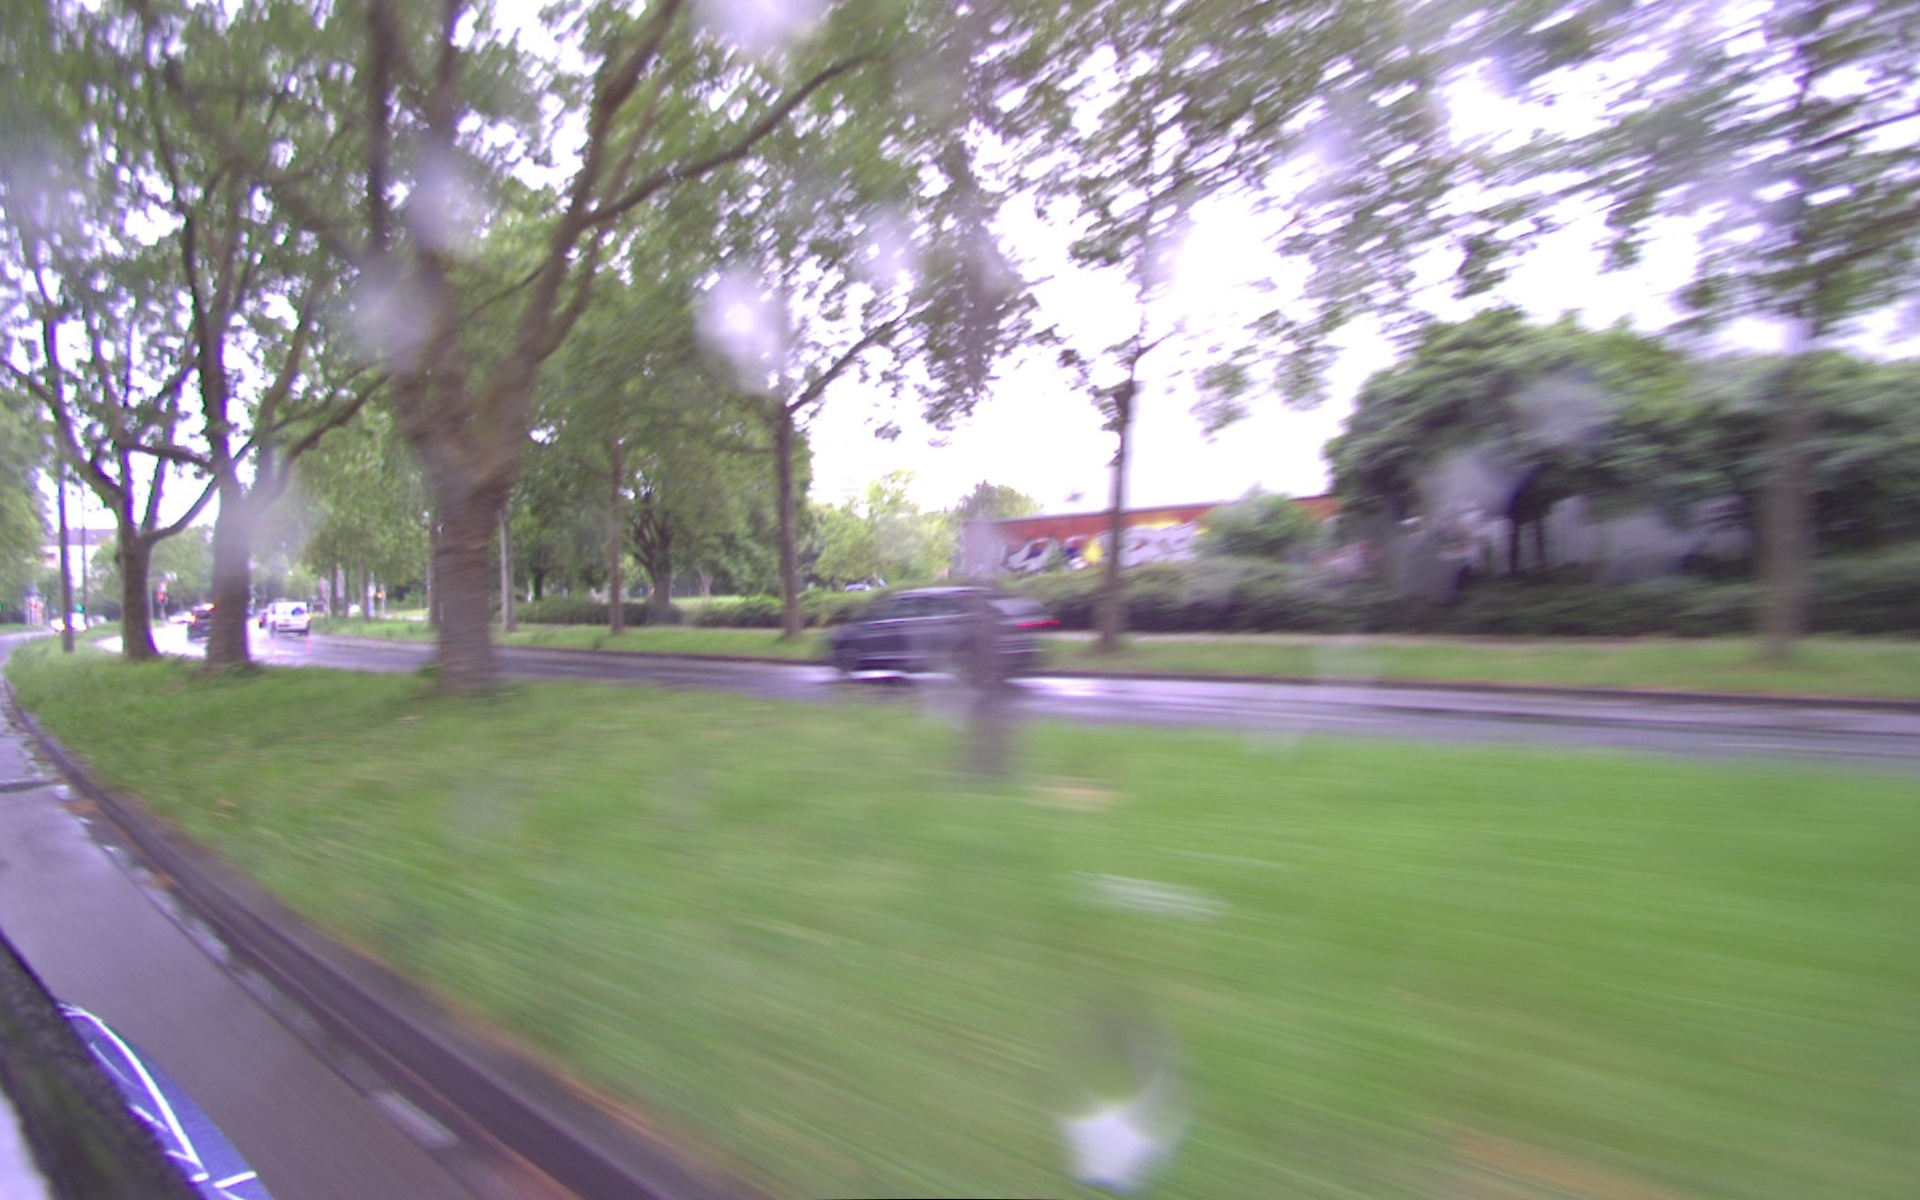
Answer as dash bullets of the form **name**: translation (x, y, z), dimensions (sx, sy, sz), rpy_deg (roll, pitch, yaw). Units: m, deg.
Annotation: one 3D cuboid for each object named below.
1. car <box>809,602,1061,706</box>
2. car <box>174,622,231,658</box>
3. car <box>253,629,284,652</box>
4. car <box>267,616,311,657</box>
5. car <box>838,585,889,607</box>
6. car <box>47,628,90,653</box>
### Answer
- **car**: translation (-0.530, 0.880, 17.770), dimensions (4.365, 1.573, 1.726), rpy_deg (-2, 0, 40)
- **car**: translation (-40.982, 2.126, 54.861), dimensions (2.002, 1.749, 4.969), rpy_deg (-2, 0, -32)
- **car**: translation (-57.052, 3.325, 83.511), dimensions (1.967, 1.643, 4.342), rpy_deg (-3, 1, -35)
- **car**: translation (-40.210, 2.135, 60.569), dimensions (2.003, 2.243, 5.448), rpy_deg (-2, 0, -35)
- **car**: translation (-10.541, -0.499, 110.904), dimensions (5.337, 2.190, 2.001), rpy_deg (-2, 1, -2)
- **car**: translation (-66.883, 3.009, 75.990), dimensions (1.968, 1.641, 4.532), rpy_deg (-3, 1, -37)
